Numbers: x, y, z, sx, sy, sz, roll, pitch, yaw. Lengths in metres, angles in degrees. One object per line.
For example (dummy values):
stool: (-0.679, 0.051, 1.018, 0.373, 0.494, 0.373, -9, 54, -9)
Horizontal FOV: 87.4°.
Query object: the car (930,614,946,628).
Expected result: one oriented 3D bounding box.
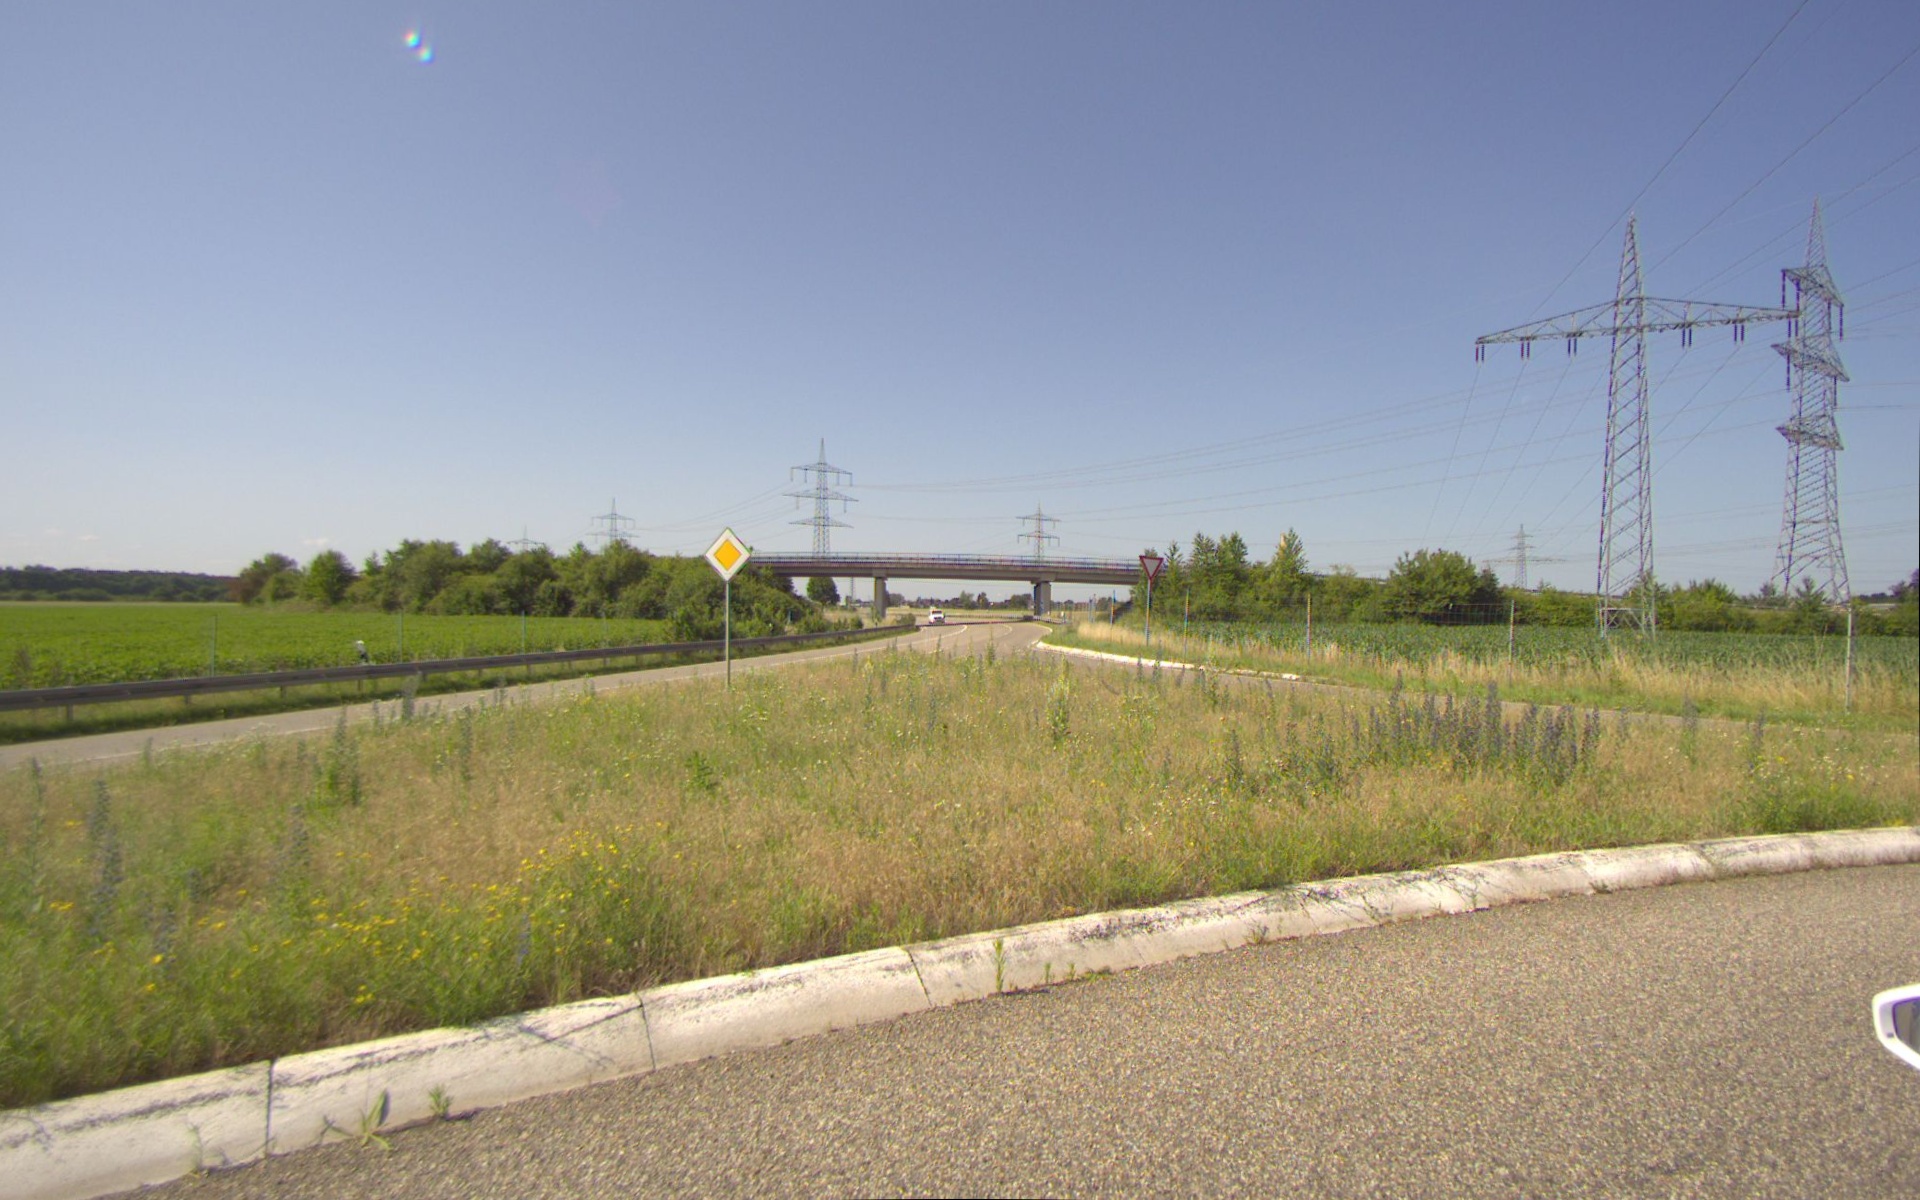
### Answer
car: (-2.911, 2.771, 135.146, 2.061, 1.662, 5.353, 1, 0, 0)
